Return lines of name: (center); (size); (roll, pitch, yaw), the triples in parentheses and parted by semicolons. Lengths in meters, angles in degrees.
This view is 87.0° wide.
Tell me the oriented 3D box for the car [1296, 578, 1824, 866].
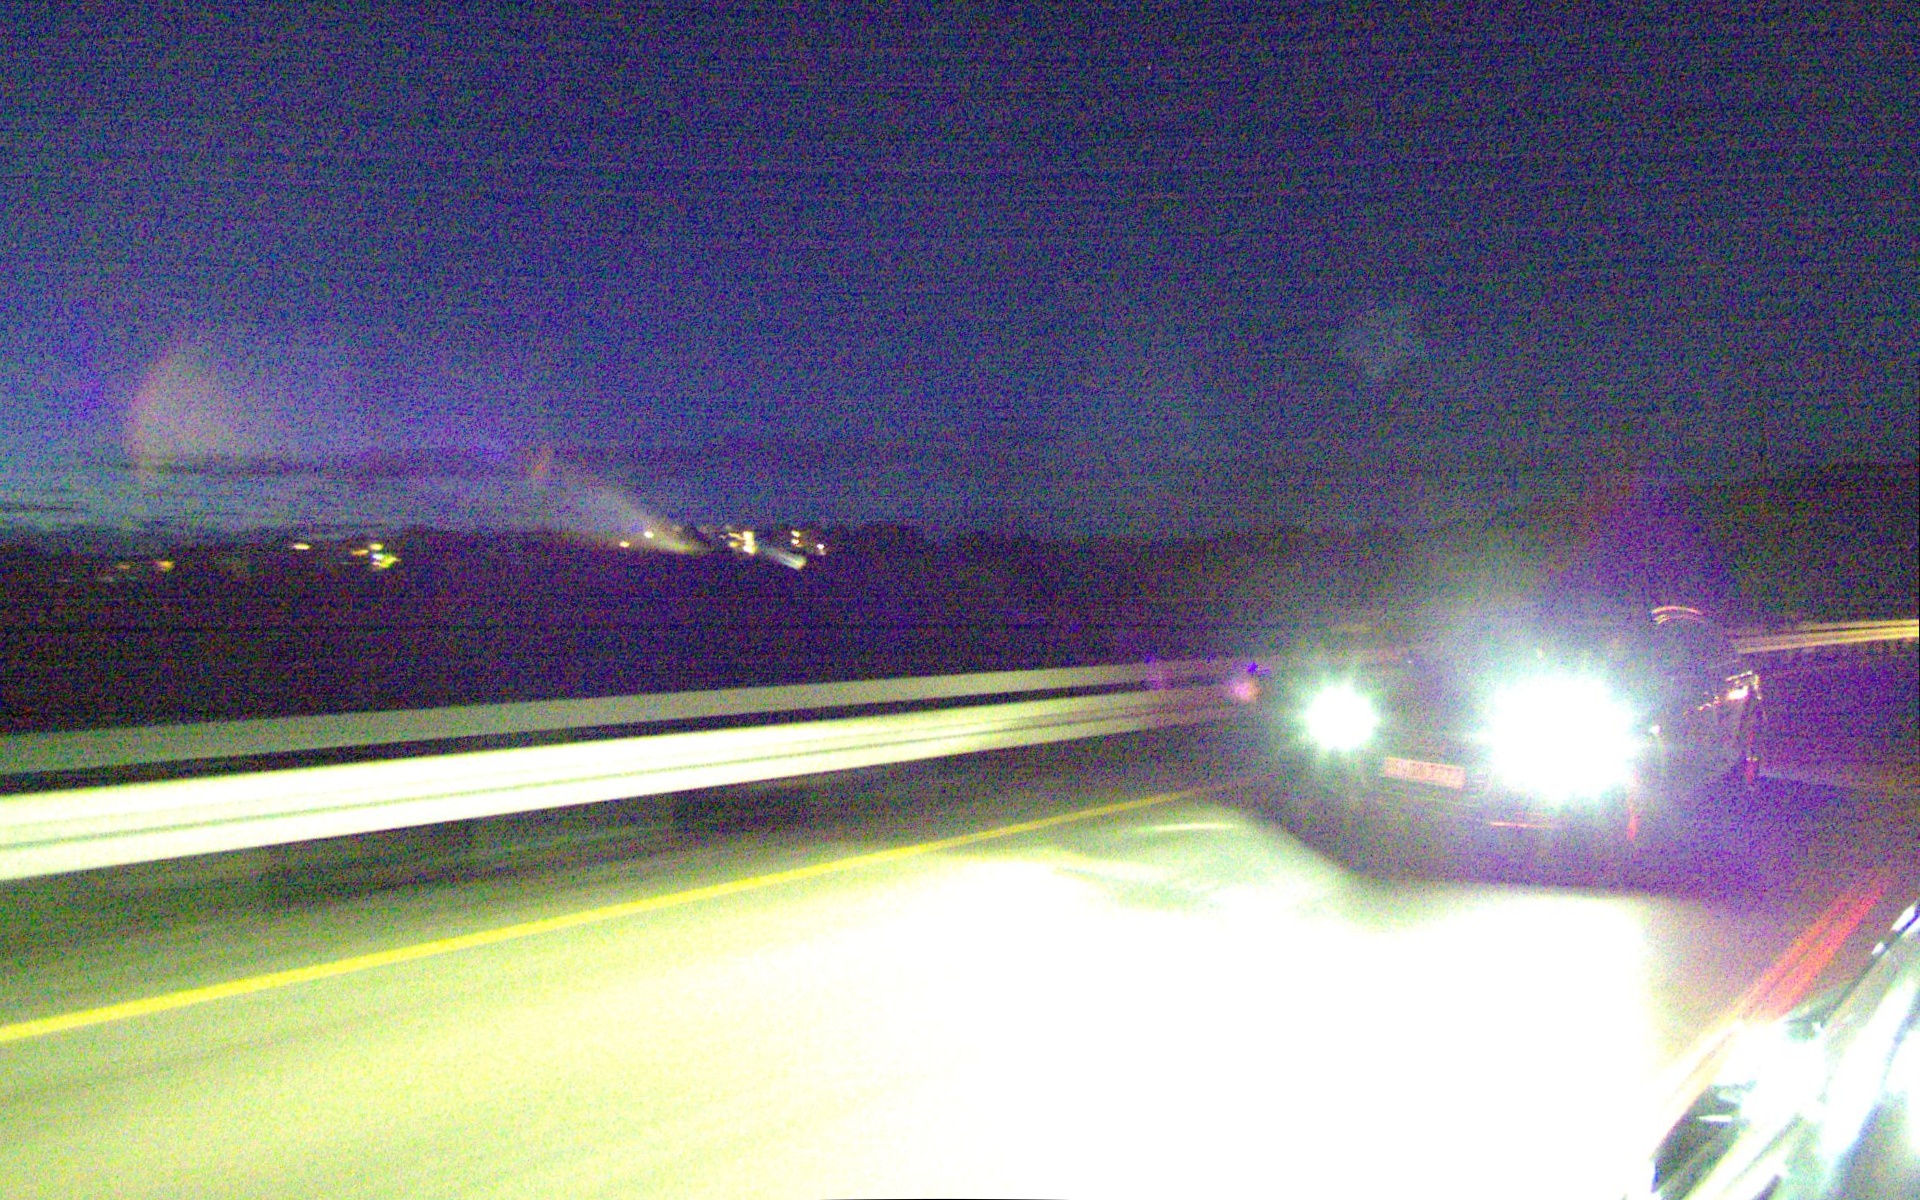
car: (4.648, 0.633, 7.484); (4.787, 1.444, 1.812); (0, 2, -40)
